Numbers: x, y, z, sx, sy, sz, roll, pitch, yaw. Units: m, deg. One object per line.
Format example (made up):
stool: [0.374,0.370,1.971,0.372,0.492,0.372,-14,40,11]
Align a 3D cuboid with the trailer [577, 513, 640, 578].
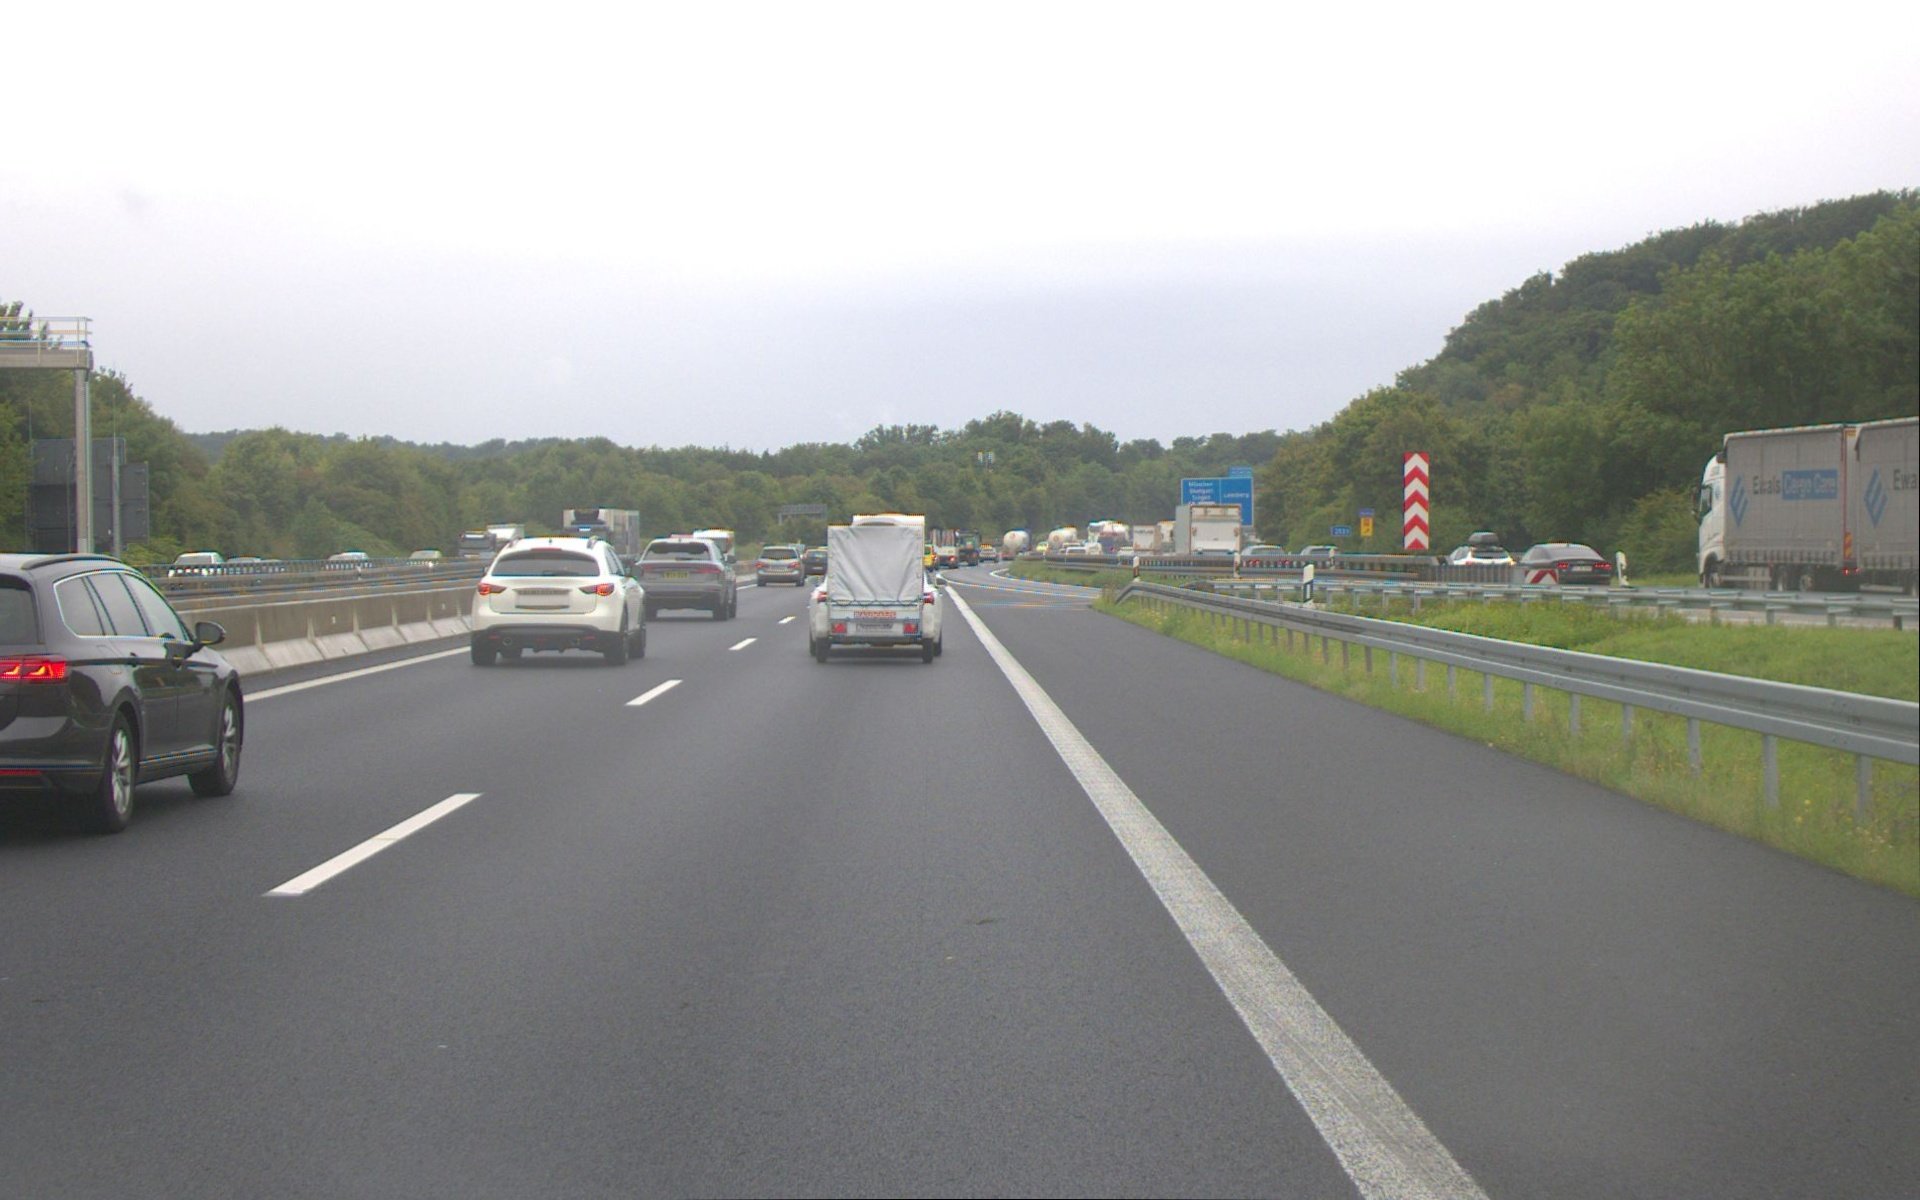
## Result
trailer: [-19.864,-3.079,194.679,2.942,3.504,8.052,1,1,-2]

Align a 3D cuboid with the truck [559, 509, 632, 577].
truck: [-19.598,-3.038,185.334,2.808,3.512,10.642,1,1,0]

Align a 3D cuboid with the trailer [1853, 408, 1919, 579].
trailer: [21.326,-2.151,70.289,3.077,3.515,8.087,1,1,-7]

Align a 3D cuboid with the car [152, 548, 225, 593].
car: [-30.936,-1.192,138.042,1.993,1.731,4.583,-1,1,-2]

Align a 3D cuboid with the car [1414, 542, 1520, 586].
car: [16.238,-1.163,110.385,1.985,1.372,5.080,0,1,-8]

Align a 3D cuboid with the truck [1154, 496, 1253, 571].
truck: [12.351,-3.357,175.268,3.824,3.646,8.273,1,1,-4]

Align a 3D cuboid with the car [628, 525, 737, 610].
car: [-5.801,-0.717,72.287,1.975,1.697,4.803,1,1,-1]

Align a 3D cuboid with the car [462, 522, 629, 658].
car: [-5.372,-0.163,45.038,2.048,1.665,4.542,0,1,-6]

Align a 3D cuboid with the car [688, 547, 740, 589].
car: [-9.948,-1.295,139.320,1.819,1.656,4.017,0,1,0]

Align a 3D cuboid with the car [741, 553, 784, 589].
car: [-9.400,-1.394,163.665,1.819,1.656,4.017,0,1,0]

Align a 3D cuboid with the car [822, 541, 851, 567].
car: [-7.724,-2.854,214.702,1.645,1.568,4.000,1,1,0]

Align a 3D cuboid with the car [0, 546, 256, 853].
car: [-5.220,0.438,18.885,1.787,1.454,4.802,1,1,-1]

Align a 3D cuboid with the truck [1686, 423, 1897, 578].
truck: [19.864,-2.342,82.458,2.937,3.515,5.929,1,1,-7]

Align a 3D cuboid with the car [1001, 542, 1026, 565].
car: [3.808,-3.299,244.102,1.645,1.568,4.000,1,1,0]

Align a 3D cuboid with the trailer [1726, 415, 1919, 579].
trailer: [20.345,-2.274,78.491,2.937,3.515,8.421,1,1,-6]

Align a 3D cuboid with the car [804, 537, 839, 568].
car: [-7.128,-2.453,177.528,1.645,1.568,4.000,1,1,0]

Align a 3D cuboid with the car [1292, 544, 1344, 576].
car: [14.624,-1.631,140.543,1.697,1.284,3.535,1,0,-1]

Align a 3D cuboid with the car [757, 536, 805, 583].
car: [-7.075,-1.618,136.349,1.738,1.787,4.000,1,1,-1]

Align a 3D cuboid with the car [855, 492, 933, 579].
car: [-2.172,-2.113,110.870,2.331,2.716,6.541,0,1,-3]

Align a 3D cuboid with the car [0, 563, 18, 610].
car: [-29.936,-0.407,104.365,1.589,1.420,3.918,0,1,0]

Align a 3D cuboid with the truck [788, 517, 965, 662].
truck: [-1.149,-0.194,47.312,2.242,1.833,6.585,1,1,-1]

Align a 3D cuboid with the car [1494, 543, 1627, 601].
car: [15.229,-0.728,87.437,1.986,1.372,5.320,0,1,-5]
